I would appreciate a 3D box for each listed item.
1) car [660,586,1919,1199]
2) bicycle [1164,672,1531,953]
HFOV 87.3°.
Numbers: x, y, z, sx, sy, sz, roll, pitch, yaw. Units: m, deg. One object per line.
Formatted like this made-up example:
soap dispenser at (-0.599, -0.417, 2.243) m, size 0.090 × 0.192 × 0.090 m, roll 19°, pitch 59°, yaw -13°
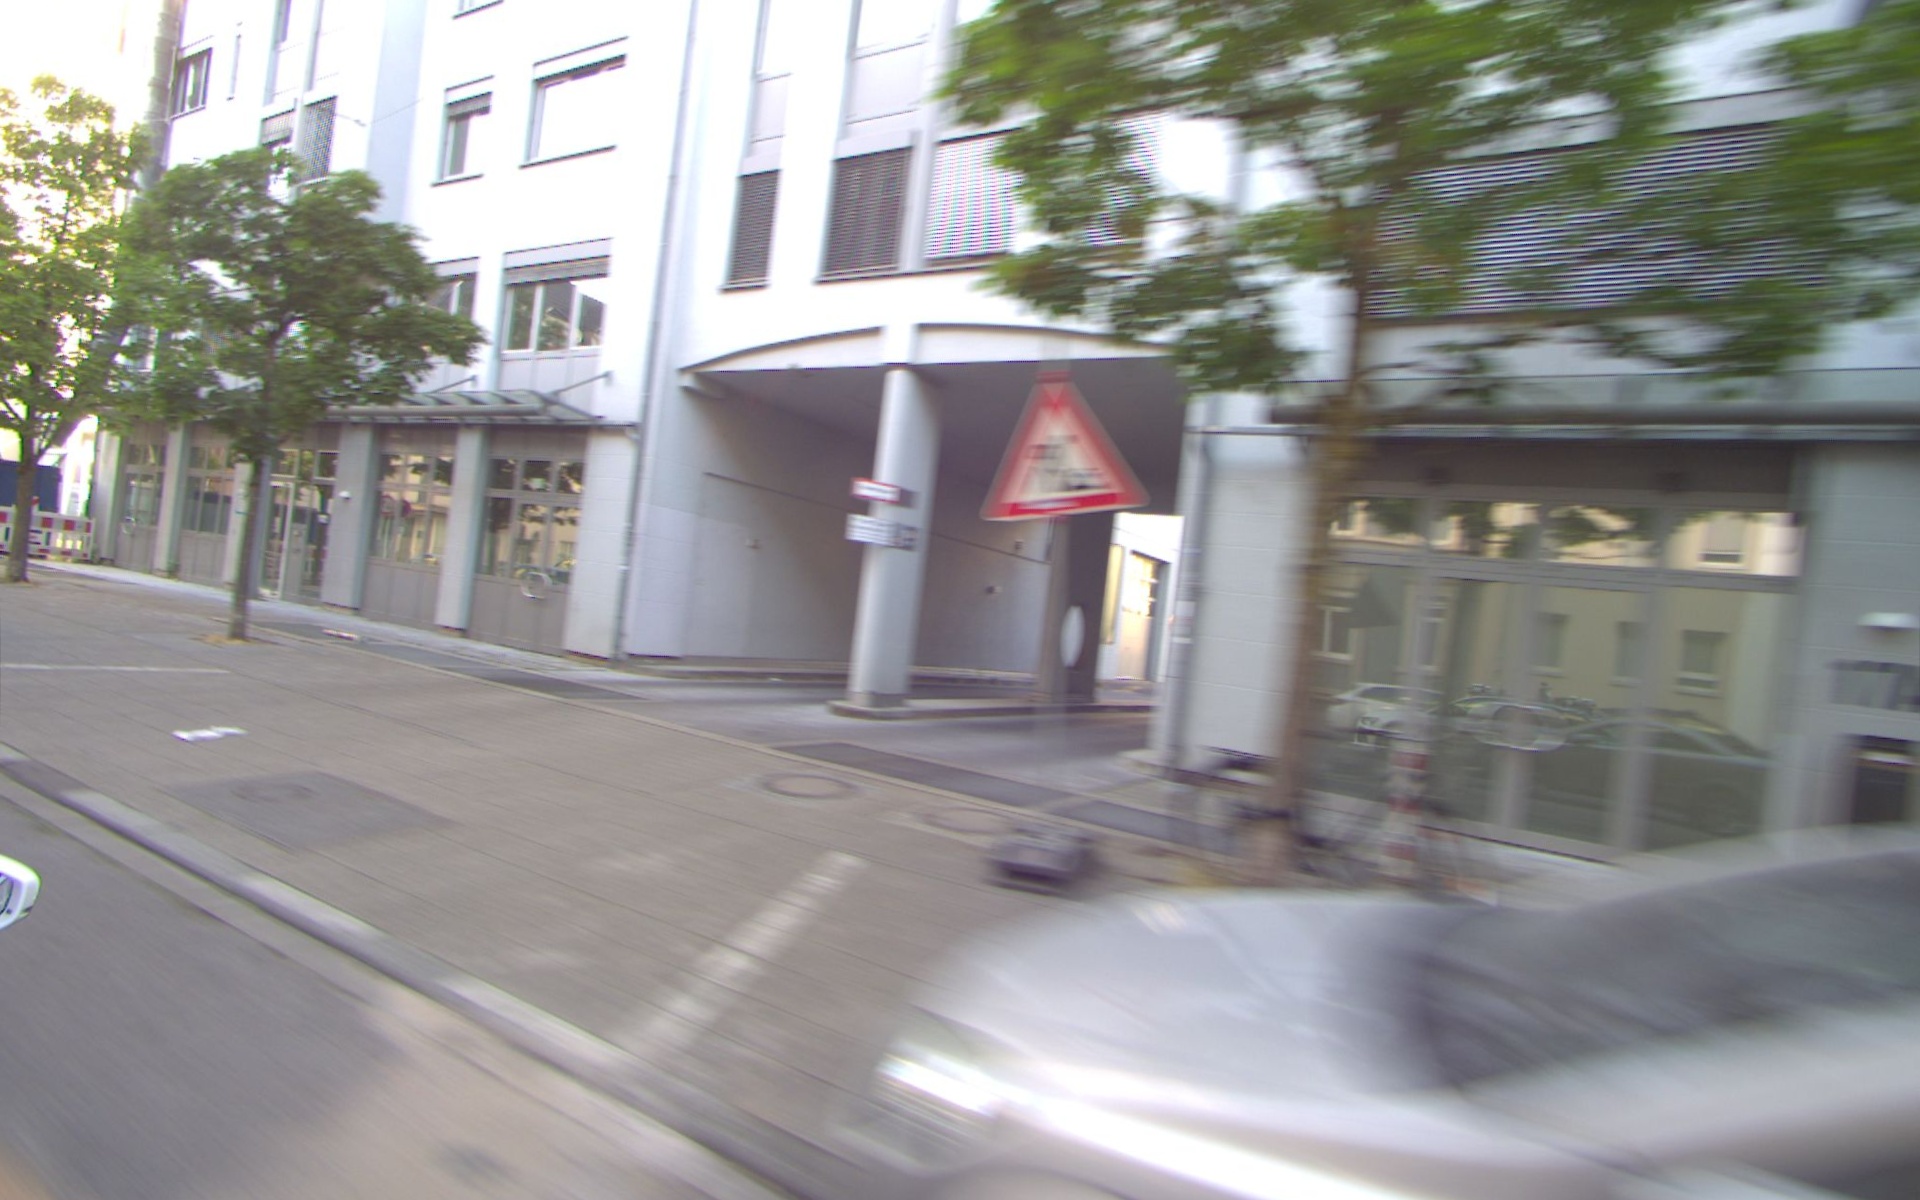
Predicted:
car at (1.753, 0.954, 1.443) m, size 4.273 × 1.447 × 1.765 m, roll 7°, pitch 1°, yaw 32°
bicycle at (2.095, 1.106, 5.598) m, size 1.708 × 1.183 × 0.521 m, roll 7°, pitch 1°, yaw 21°
